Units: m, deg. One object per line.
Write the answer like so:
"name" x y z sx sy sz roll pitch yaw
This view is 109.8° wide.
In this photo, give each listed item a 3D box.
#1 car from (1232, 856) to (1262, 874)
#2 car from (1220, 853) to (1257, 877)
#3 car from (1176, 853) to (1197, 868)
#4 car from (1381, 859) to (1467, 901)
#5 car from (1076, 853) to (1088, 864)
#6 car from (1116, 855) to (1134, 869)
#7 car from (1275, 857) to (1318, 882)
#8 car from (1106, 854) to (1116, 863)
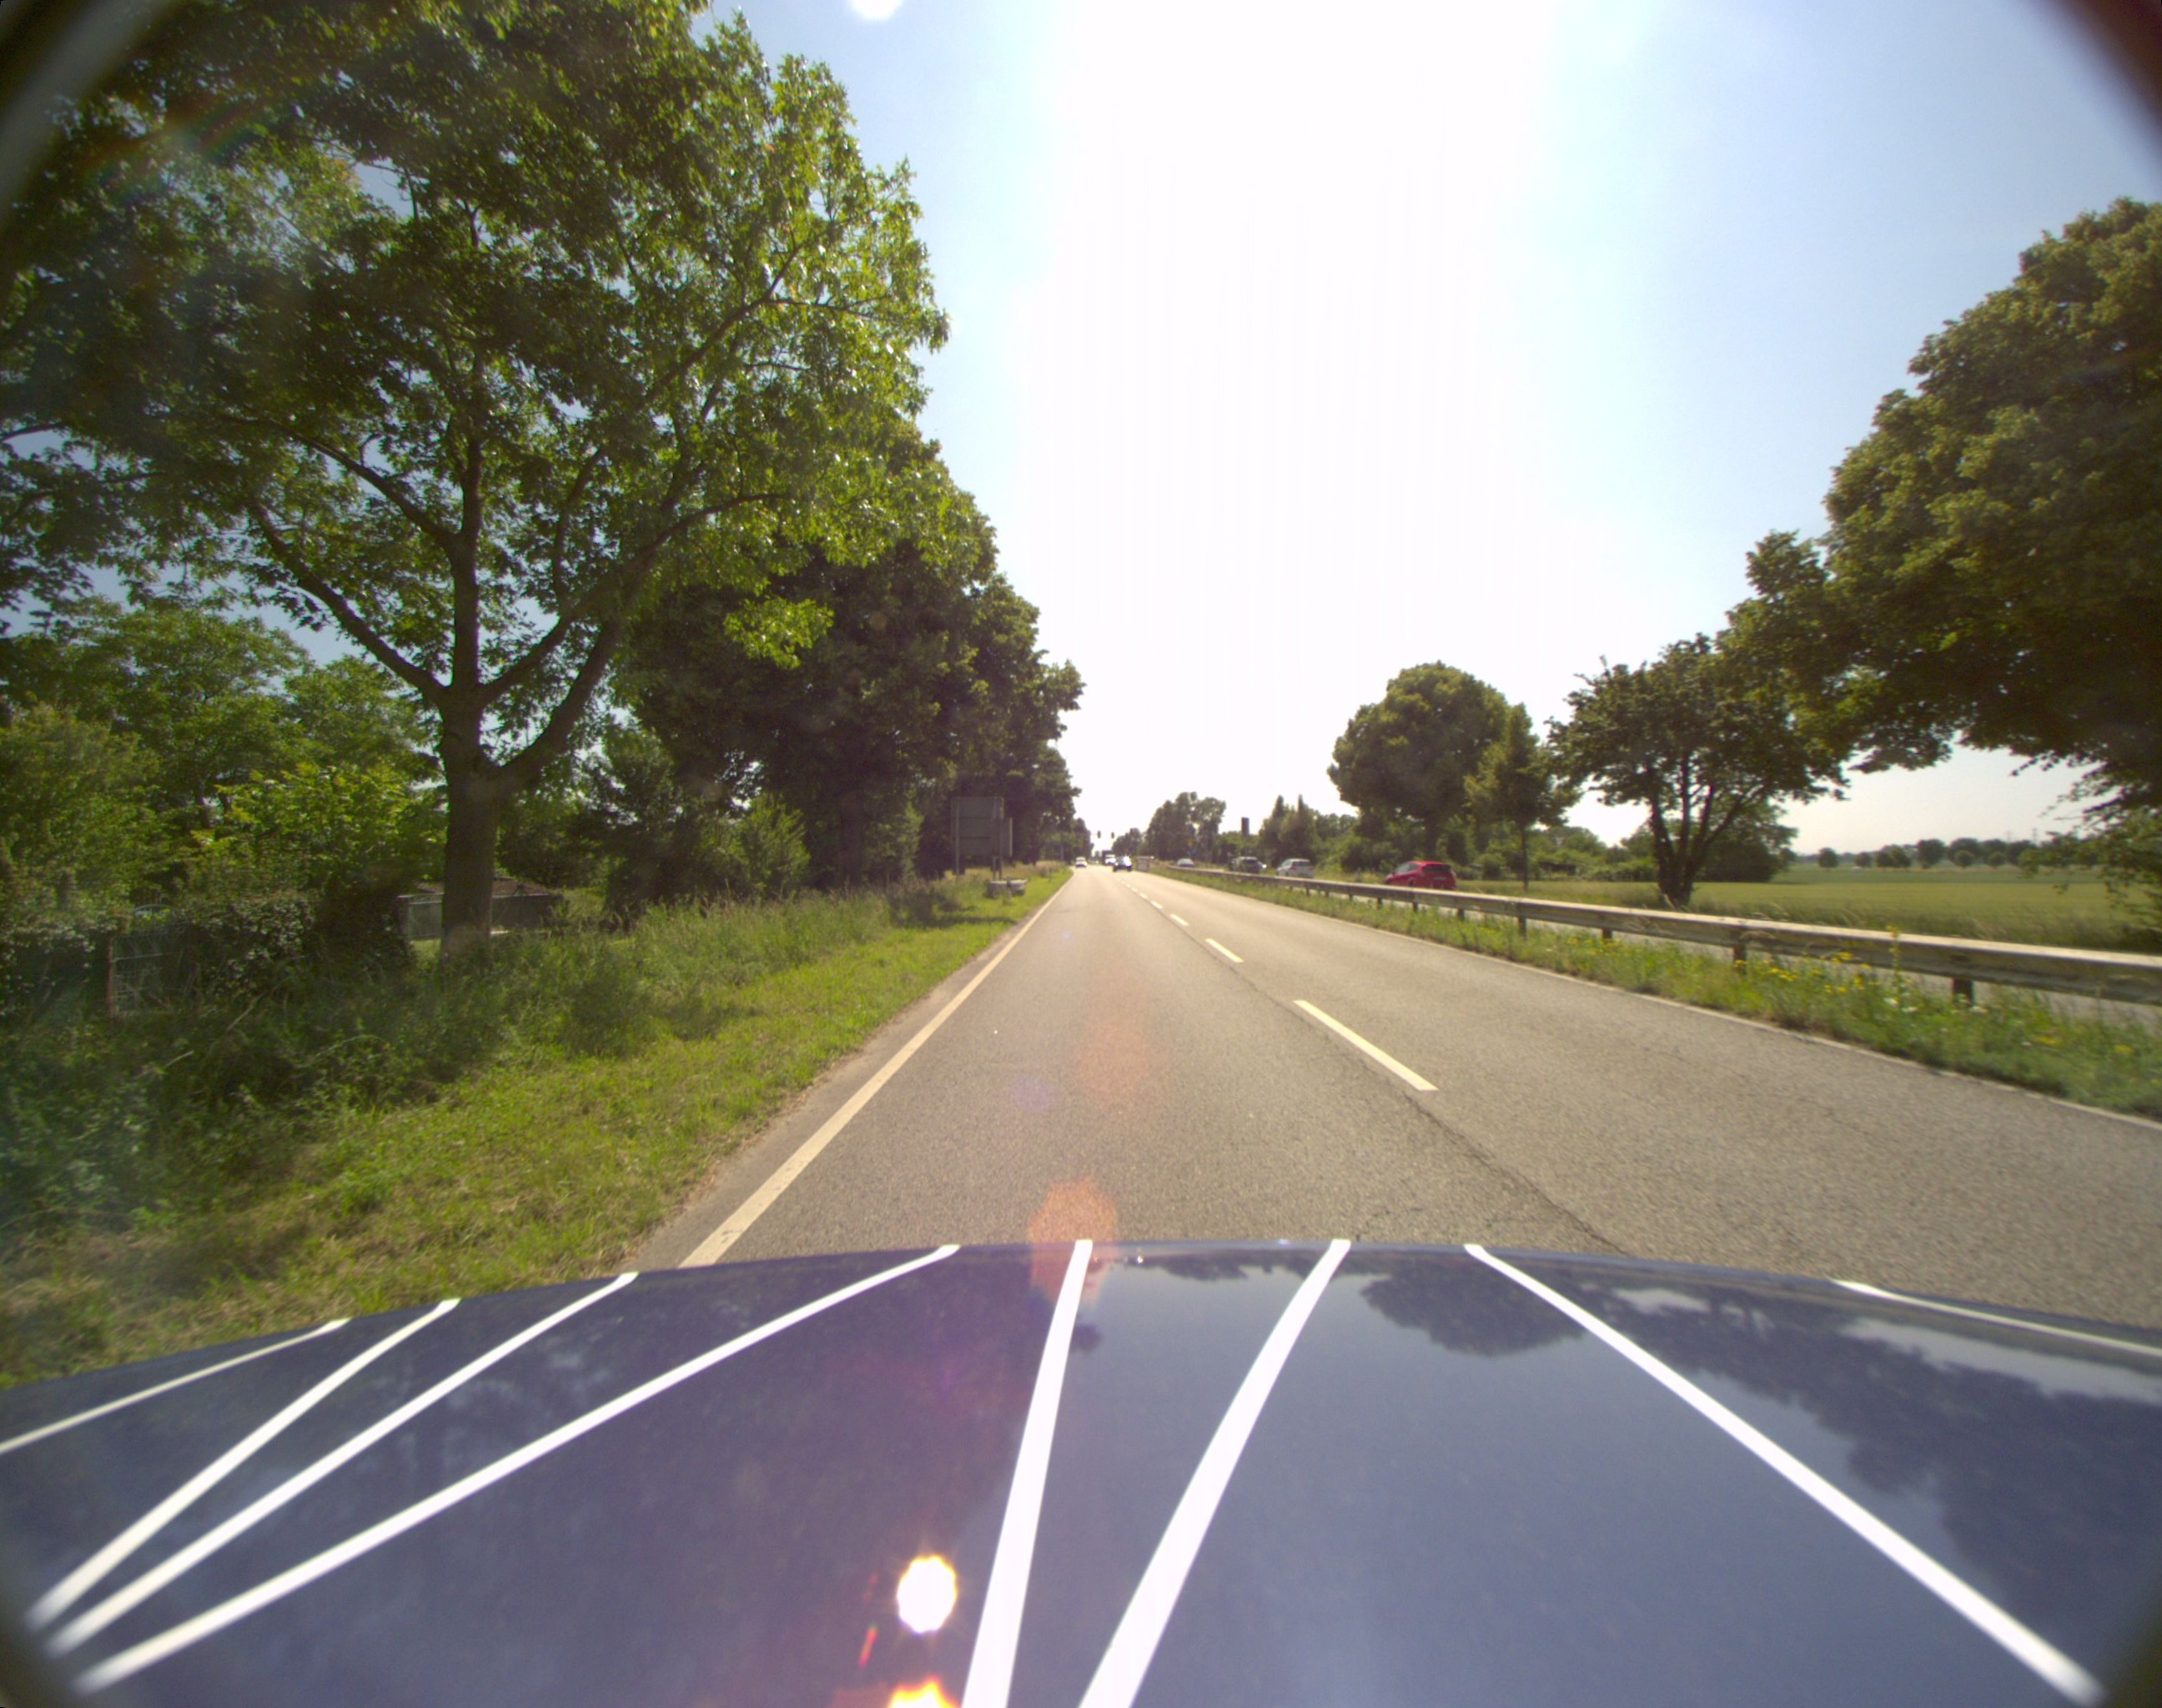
"car" 14.572 0.951 66.867 1.765 1.581 3.894 0 0 0
"car" 10.678 0.741 51.704 1.765 1.581 3.750 0 0 0
"car" 11.365 0.698 81.752 1.765 1.581 3.750 0 0 0
"car" 13.905 1.005 31.037 1.765 1.581 3.894 0 0 0
"car" 0.162 0.694 129.939 1.777 1.863 4.580 0 0 -2
"car" 4.882 0.898 84.469 1.860 1.507 4.101 0 0 3
"car" 14.447 0.999 51.091 1.765 1.581 3.894 0 0 0
"car" 6.231 0.845 156.643 1.886 1.775 4.000 0 0 0
